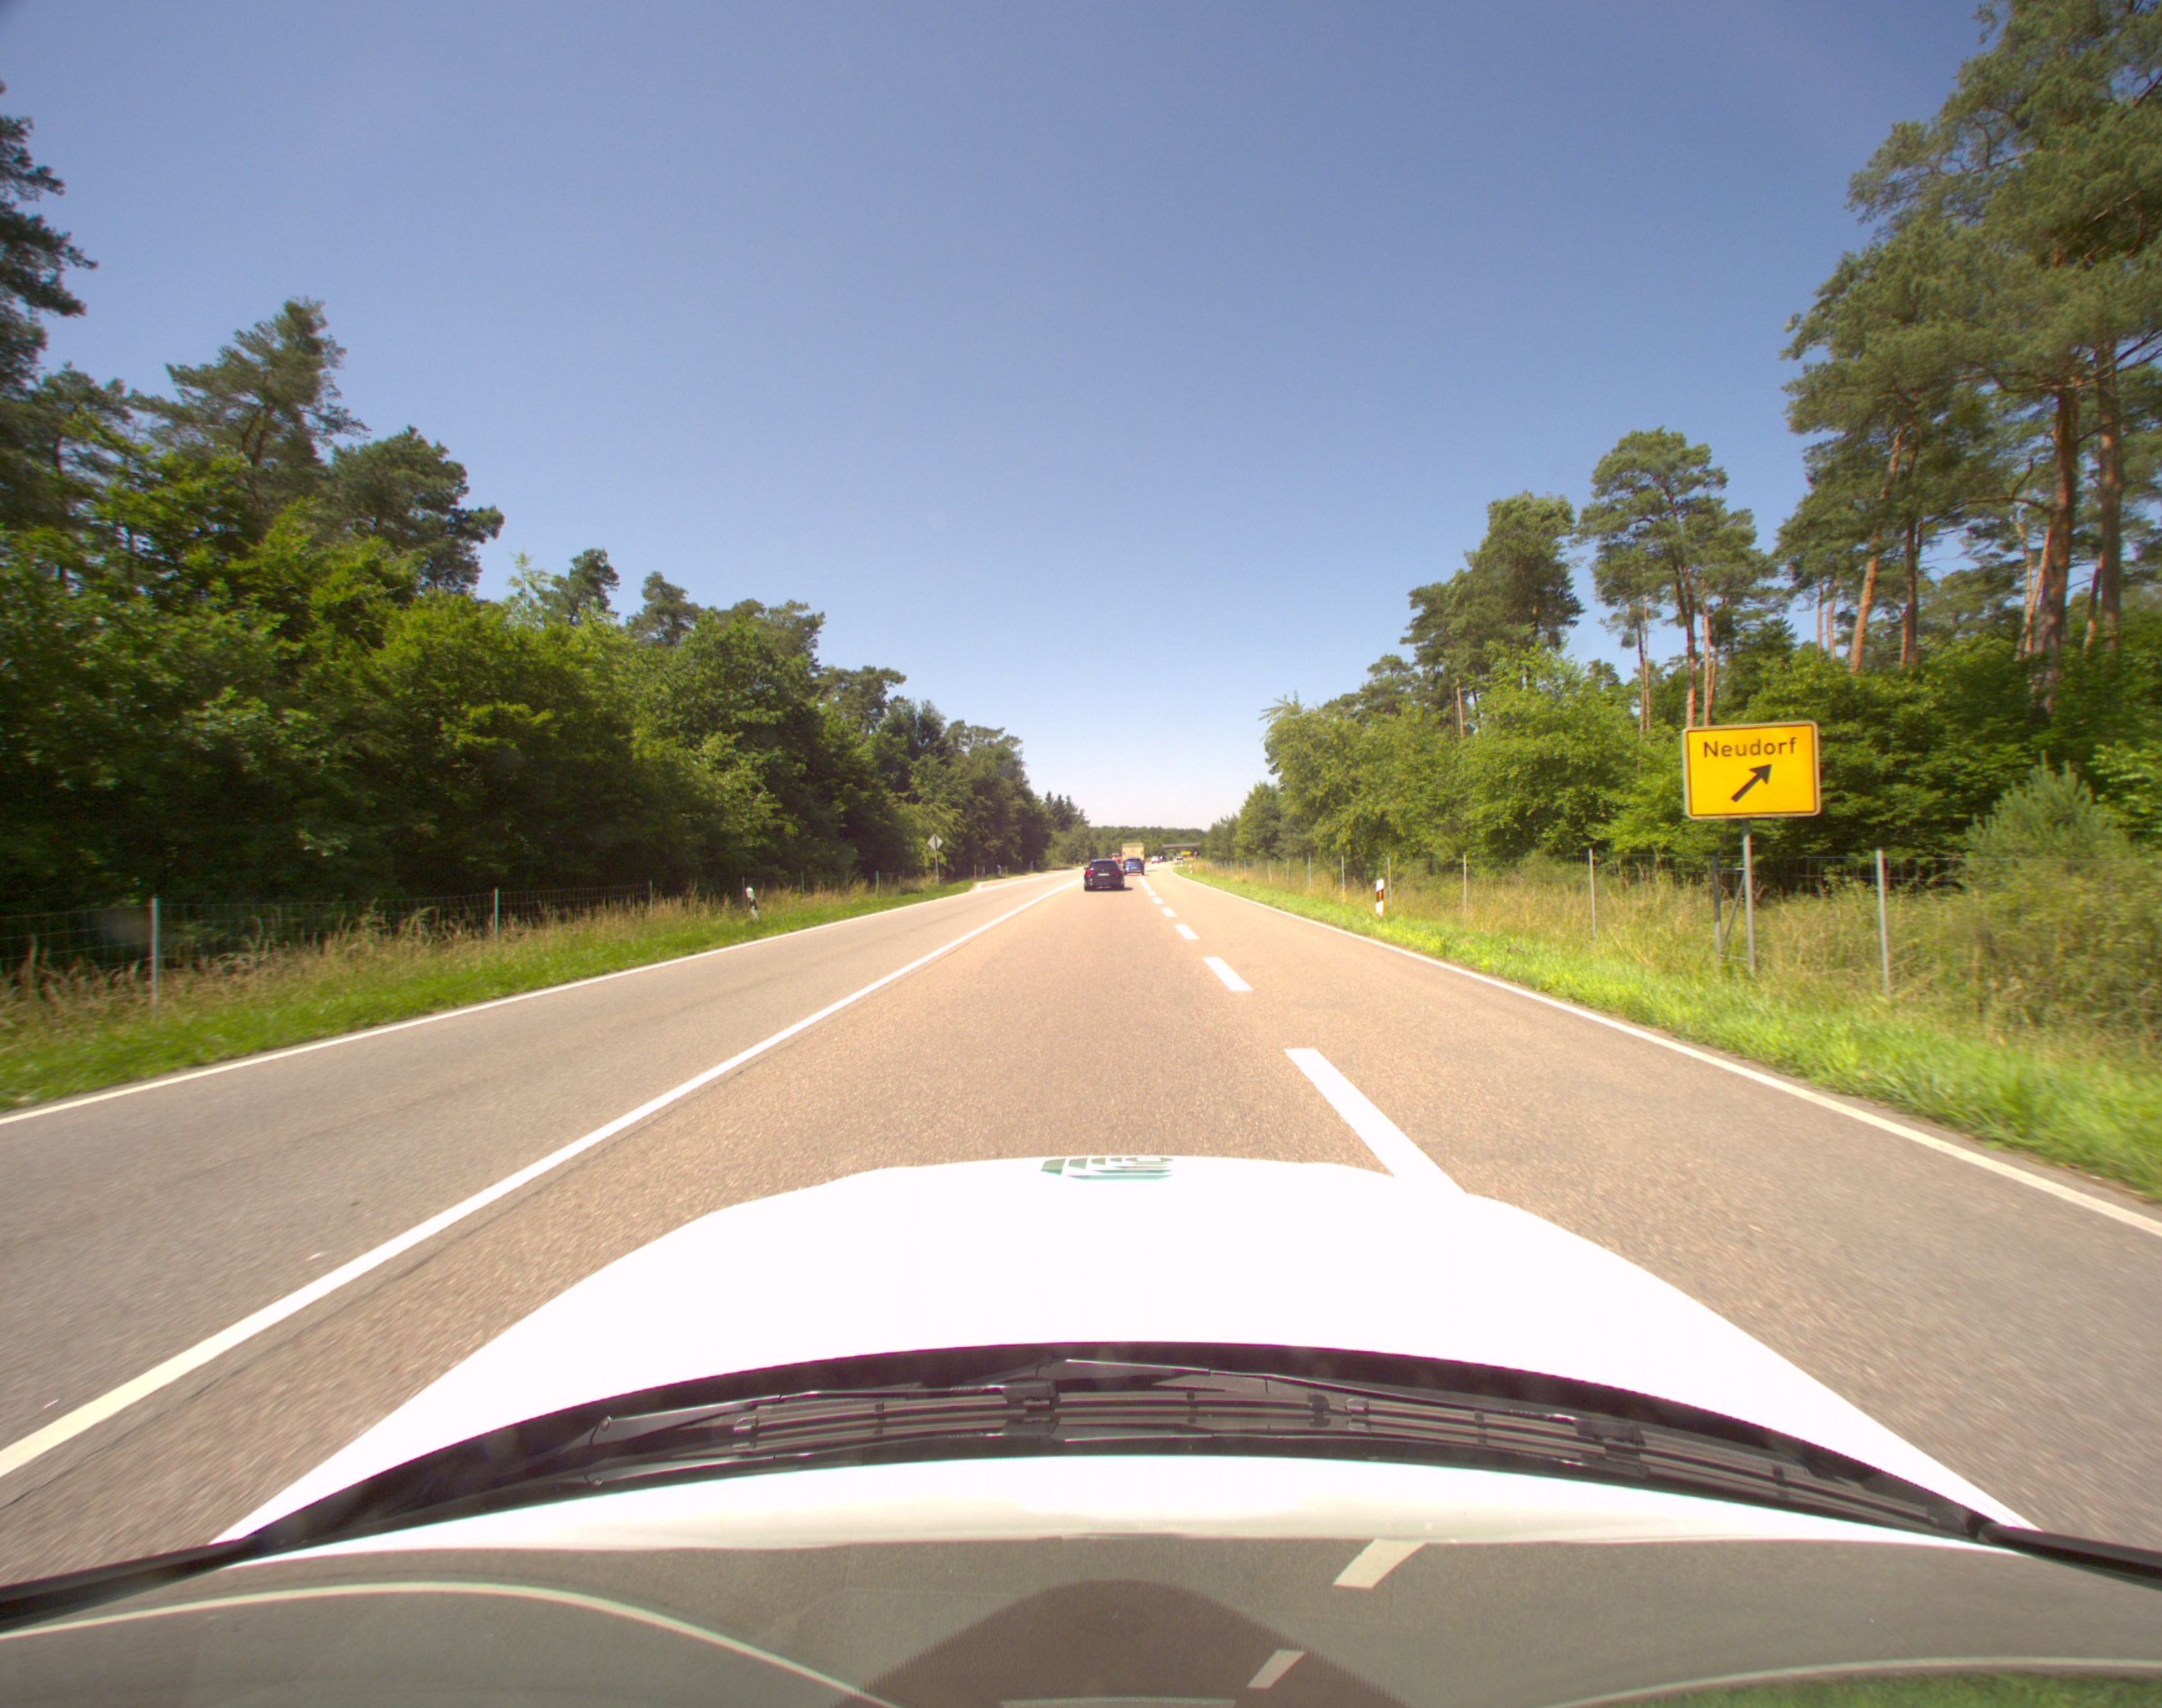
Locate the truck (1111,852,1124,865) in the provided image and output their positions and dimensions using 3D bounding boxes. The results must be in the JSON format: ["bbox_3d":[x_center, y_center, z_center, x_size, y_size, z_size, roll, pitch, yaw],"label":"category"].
[{"bbox_3d":[7.895,0.995,175.209,2.386,2.722,6.562,-1,0,6],"label":"truck"}]

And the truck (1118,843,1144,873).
[{"bbox_3d":[6.033,0.432,97.460,2.952,3.387,6.445,-1,0,4],"label":"truck"}]

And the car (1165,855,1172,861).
[{"bbox_3d":[27.460,1.203,255.032,1.983,1.636,4.007,-2,0,6],"label":"car"}]

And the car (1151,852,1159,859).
[{"bbox_3d":[17.997,0.404,197.911,1.856,1.605,4.002,-2,0,2],"label":"car"}]

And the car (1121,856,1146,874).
[{"bbox_3d":[4.691,0.962,73.452,1.941,1.542,4.000,-2,0,0],"label":"car"}]

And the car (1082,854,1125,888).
[{"bbox_3d":[1.012,0.779,38.746,1.815,1.470,3.998,-1,0,-1],"label":"car"}]

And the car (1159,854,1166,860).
[{"bbox_3d":[22.810,0.815,227.338,1.984,1.420,4.005,0,0,5],"label":"car"}]
